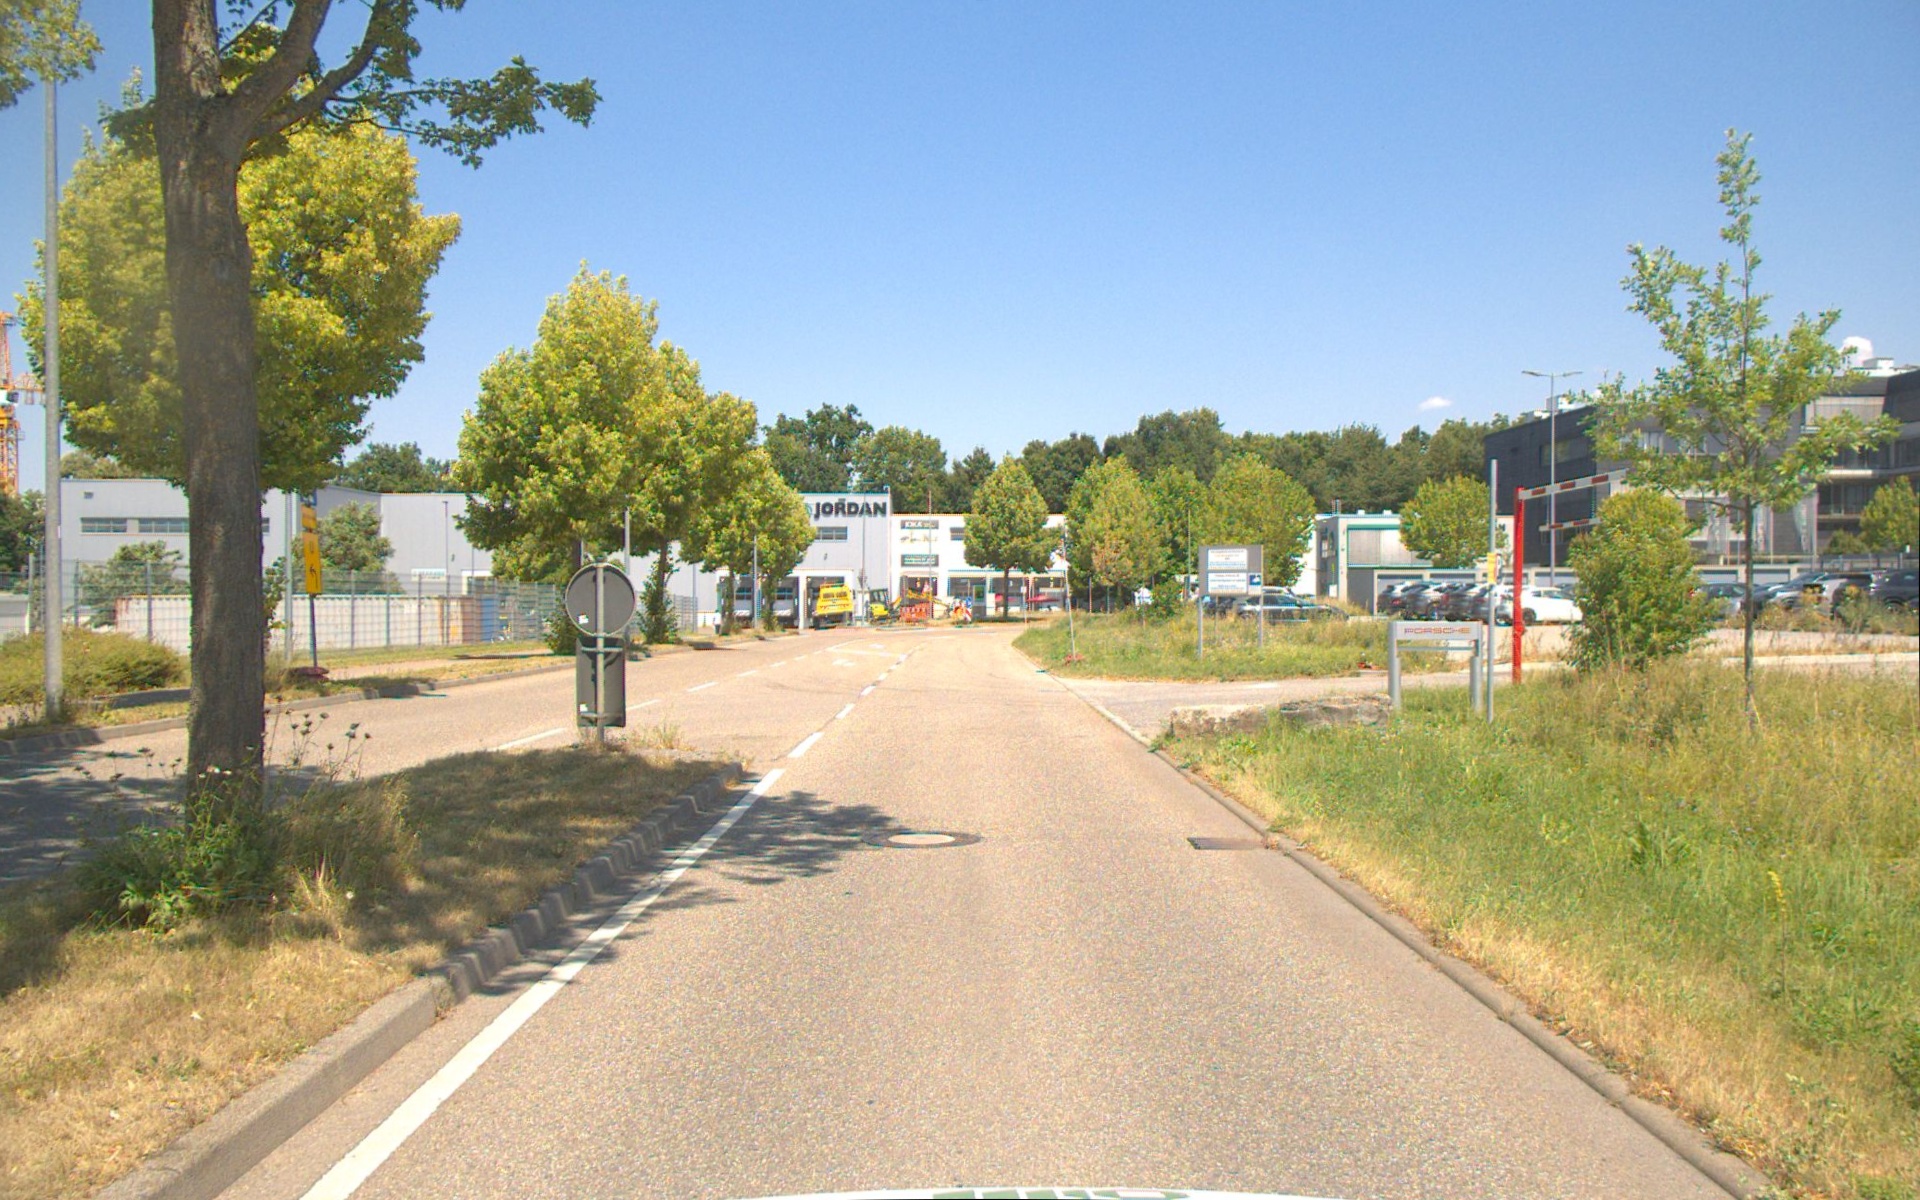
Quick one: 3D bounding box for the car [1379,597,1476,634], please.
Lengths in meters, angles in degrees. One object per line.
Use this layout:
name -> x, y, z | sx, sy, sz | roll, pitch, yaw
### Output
car -> 21.372, 0.688, 75.680 | 3.908, 1.424, 1.768 | -2, 3, -4

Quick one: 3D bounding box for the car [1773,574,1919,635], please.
car -> 27.185, 0.112, 50.481 | 3.908, 1.623, 1.768 | -2, 3, -4

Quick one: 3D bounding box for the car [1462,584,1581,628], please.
car -> 21.391, 0.221, 63.067 | 3.908, 1.424, 1.768 | -2, 3, -4

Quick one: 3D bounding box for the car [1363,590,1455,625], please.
car -> 21.490, 0.349, 79.216 | 3.908, 1.424, 1.768 | -2, 3, -4

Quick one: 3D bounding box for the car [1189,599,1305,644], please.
car -> 10.992, 0.813, 63.478 | 4.080, 1.424, 1.768 | -2, 3, -4

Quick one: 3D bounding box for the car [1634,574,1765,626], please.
car -> 26.500, -0.021, 59.322 | 3.908, 1.623, 1.768 | -2, 3, -4

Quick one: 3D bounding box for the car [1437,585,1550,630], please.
car -> 21.104, 0.292, 65.489 | 3.908, 1.516, 1.768 | -2, 3, -4

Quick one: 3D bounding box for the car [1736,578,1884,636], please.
car -> 27.238, 0.200, 53.070 | 3.908, 1.623, 1.768 | -2, 3, -4

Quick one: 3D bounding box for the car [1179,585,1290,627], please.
car -> 10.973, 0.218, 66.161 | 4.080, 1.424, 1.768 | -2, 3, -4

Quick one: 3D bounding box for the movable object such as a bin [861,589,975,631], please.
movable object such as a bin -> -2.872, 0.686, 115.282 | 7.365, 2.543, 3.670 | -1, 3, 8

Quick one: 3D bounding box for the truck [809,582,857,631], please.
truck -> -8.872, 0.397, 115.152 | 2.884, 2.935, 5.800 | -2, 3, -9

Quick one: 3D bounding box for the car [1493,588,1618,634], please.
car -> 21.629, 0.379, 60.116 | 3.907, 1.424, 1.768 | -2, 3, -3

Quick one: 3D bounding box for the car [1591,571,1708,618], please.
car -> 27.102, -0.221, 65.083 | 3.908, 1.623, 1.768 | -2, 3, -4

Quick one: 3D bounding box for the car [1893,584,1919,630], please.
car -> 27.511, 0.145, 44.476 | 3.908, 1.128, 1.768 | -2, 3, -4

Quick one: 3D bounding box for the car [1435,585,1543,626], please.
car -> 21.954, 0.217, 68.677 | 3.908, 1.486, 1.768 | -2, 3, -4

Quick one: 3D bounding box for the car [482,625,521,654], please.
car -> -31.205, 2.667, 112.704 | 1.956, 1.578, 3.995 | -2, 3, -7

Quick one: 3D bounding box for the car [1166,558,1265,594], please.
car -> 11.478, -1.093, 74.378 | 4.080, 1.424, 1.768 | -2, 3, -4

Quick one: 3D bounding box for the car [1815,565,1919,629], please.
car -> 26.989, -0.117, 47.546 | 3.908, 1.623, 1.860 | -2, 3, -4

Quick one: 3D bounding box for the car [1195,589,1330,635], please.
car -> 11.022, 0.442, 60.557 | 4.606, 1.424, 1.923 | -2, 3, 2

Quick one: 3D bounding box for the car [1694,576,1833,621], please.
car -> 27.377, -0.057, 56.423 | 3.908, 1.293, 1.768 | -2, 3, -4

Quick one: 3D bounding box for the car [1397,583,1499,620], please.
car -> 21.491, 0.050, 72.916 | 3.908, 1.424, 1.768 | -2, 3, -4
